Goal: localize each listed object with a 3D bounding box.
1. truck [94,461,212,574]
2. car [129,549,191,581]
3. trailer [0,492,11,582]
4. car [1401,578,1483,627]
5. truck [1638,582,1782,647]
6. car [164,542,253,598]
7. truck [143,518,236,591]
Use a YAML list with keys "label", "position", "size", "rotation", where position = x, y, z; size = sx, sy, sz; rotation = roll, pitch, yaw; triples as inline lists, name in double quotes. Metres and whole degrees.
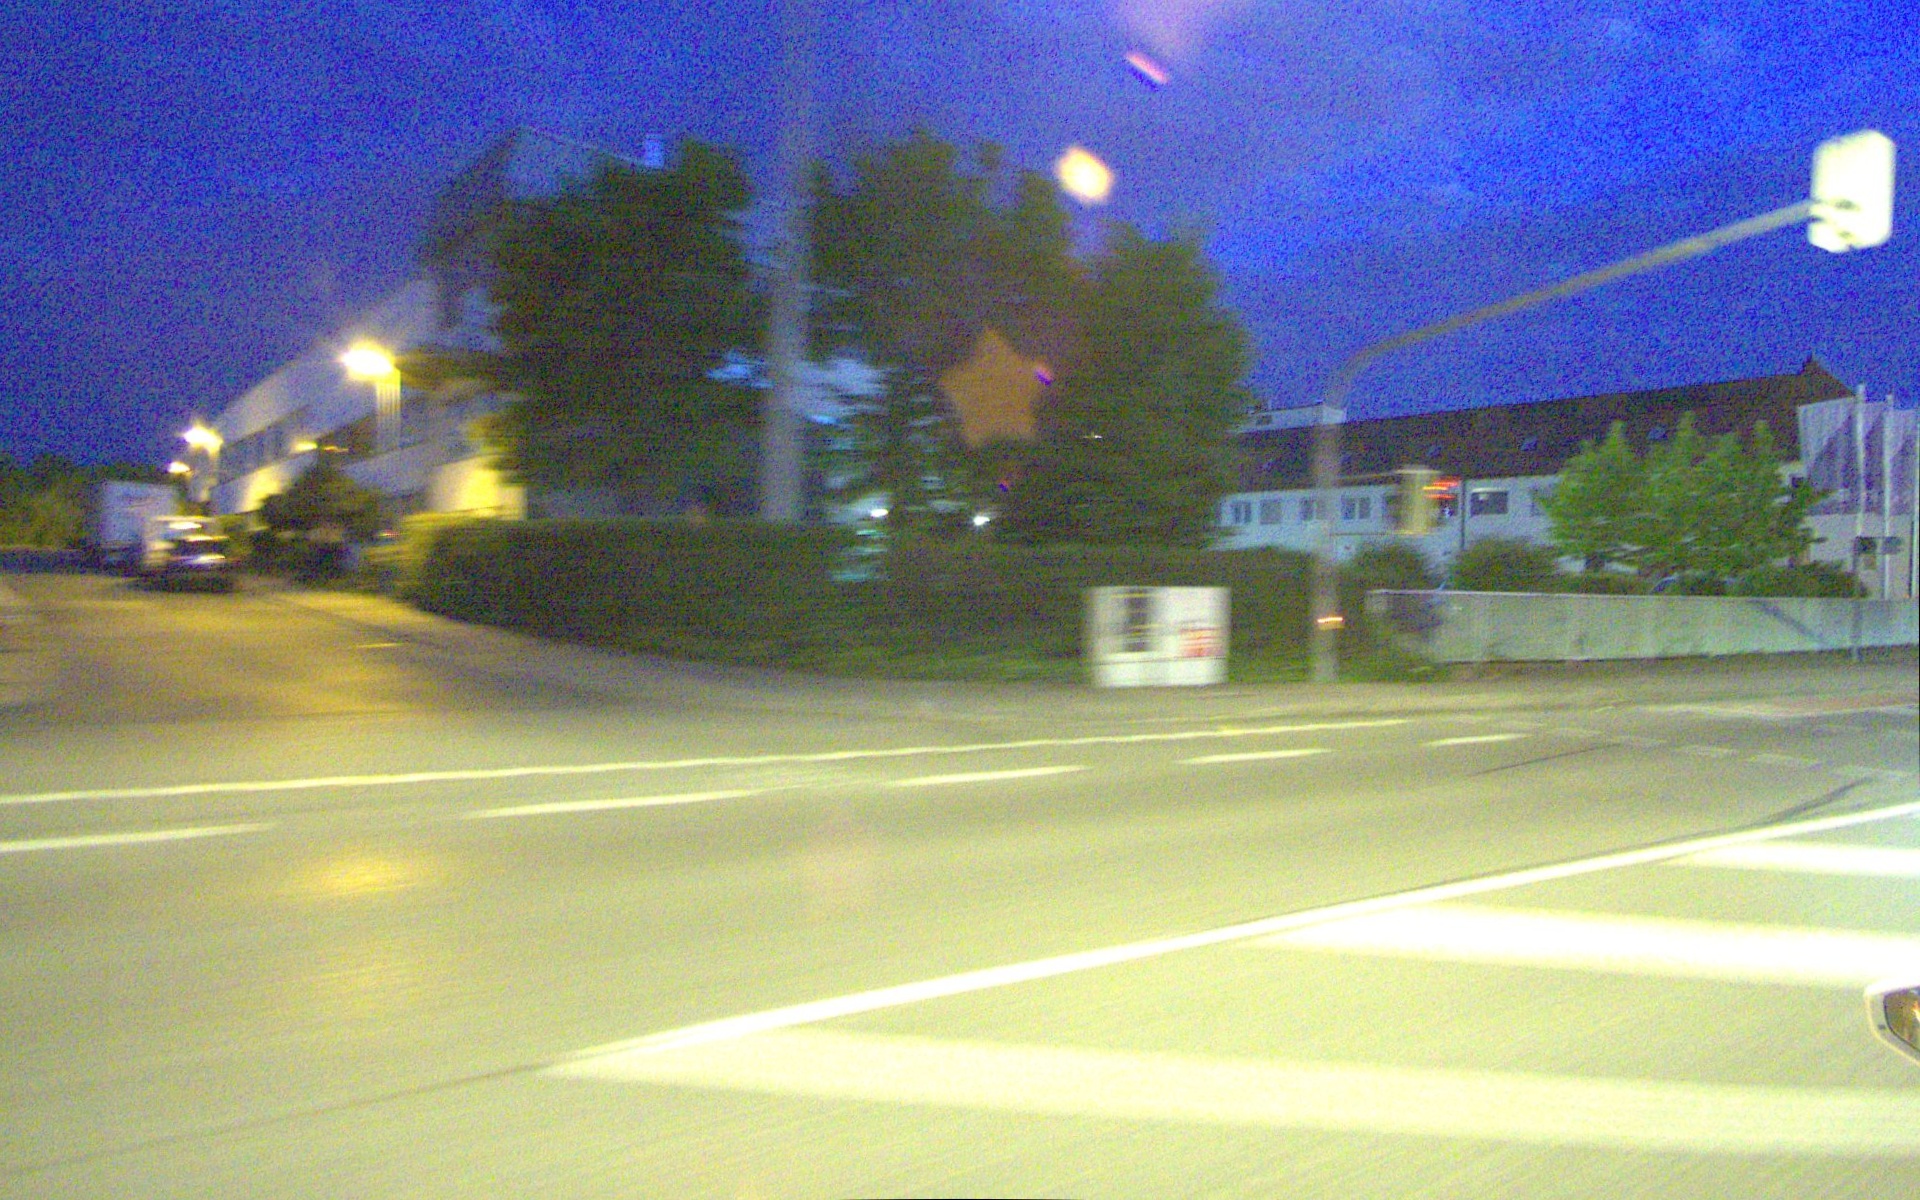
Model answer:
- label: "truck"
  position: [-41.705, -3.991, 51.521]
  size: [3.454, 4.875, 17.177]
  rotation: [0, 2, -43]
- label: "car"
  position: [-33.537, -1.467, 42.059]
  size: [1.769, 1.261, 3.523]
  rotation: [0, 1, -43]
- label: "trailer"
  position: [-62.686, -4.112, 63.483]
  size: [2.901, 5.621, 12.440]
  rotation: [0, 0, -39]
- label: "car"
  position: [21.539, 0.093, 44.795]
  size: [1.972, 2.041, 4.660]
  rotation: [2, 1, 43]
- label: "truck"
  position: [24.123, 0.441, 32.259]
  size: [5.259, 1.926, 1.982]
  rotation: [1, 1, -33]
- label: "car"
  position: [-23.717, -0.968, 31.650]
  size: [1.896, 1.611, 4.294]
  rotation: [0, 2, -42]
- label: "truck"
  position: [-28.059, -1.644, 36.500]
  size: [2.148, 2.422, 4.976]
  rotation: [0, 2, -44]
